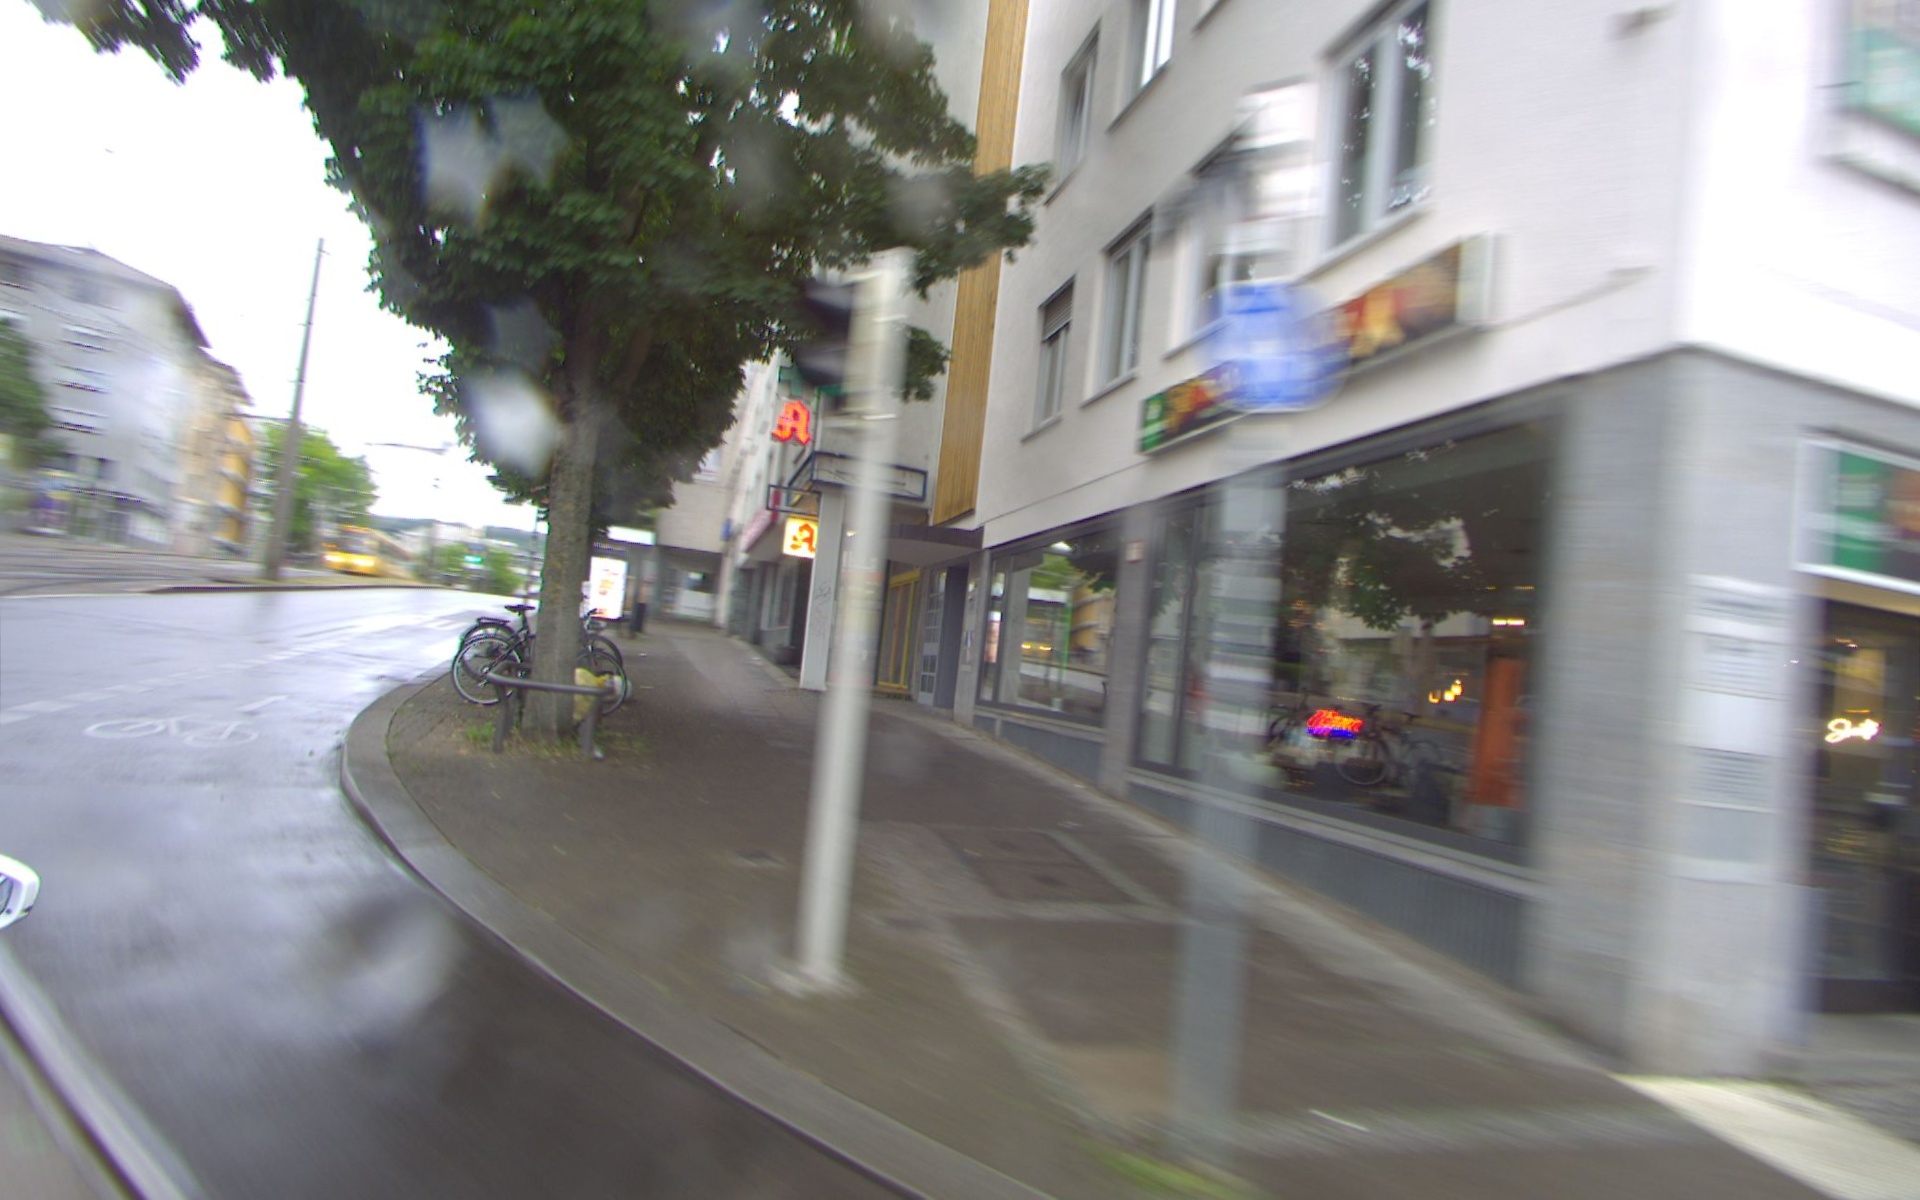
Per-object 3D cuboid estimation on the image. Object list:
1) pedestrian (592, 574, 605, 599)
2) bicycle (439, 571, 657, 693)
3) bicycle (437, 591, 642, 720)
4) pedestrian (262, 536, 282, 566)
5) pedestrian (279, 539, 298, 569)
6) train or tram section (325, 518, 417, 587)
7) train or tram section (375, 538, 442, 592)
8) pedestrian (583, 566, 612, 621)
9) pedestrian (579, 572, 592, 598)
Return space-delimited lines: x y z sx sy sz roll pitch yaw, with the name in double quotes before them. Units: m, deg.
"pedestrian" -27.619 -1.024 76.889 0.693 1.806 1.061 7 -1 -23
"bicycle" -4.950 0.404 12.252 2.288 1.187 0.647 7 -2 -17
"bicycle" -4.315 0.576 10.468 1.795 1.105 0.647 7 0 -17
"pedestrian" -43.985 -3.136 64.314 0.724 1.812 0.693 7 0 -21
"pedestrian" -43.257 -2.980 64.802 0.724 1.812 0.693 7 0 -21
"train or tram section" -44.252 -3.309 76.315 2.718 3.737 18.896 8 -4 -21
"train or tram section" -51.179 -3.040 93.905 2.718 3.737 18.896 8 -4 -21
"pedestrian" -11.567 -0.205 32.093 0.658 1.645 0.963 7 -1 -20
"pedestrian" -28.495 -1.150 76.463 0.693 1.837 0.972 7 -1 -23
